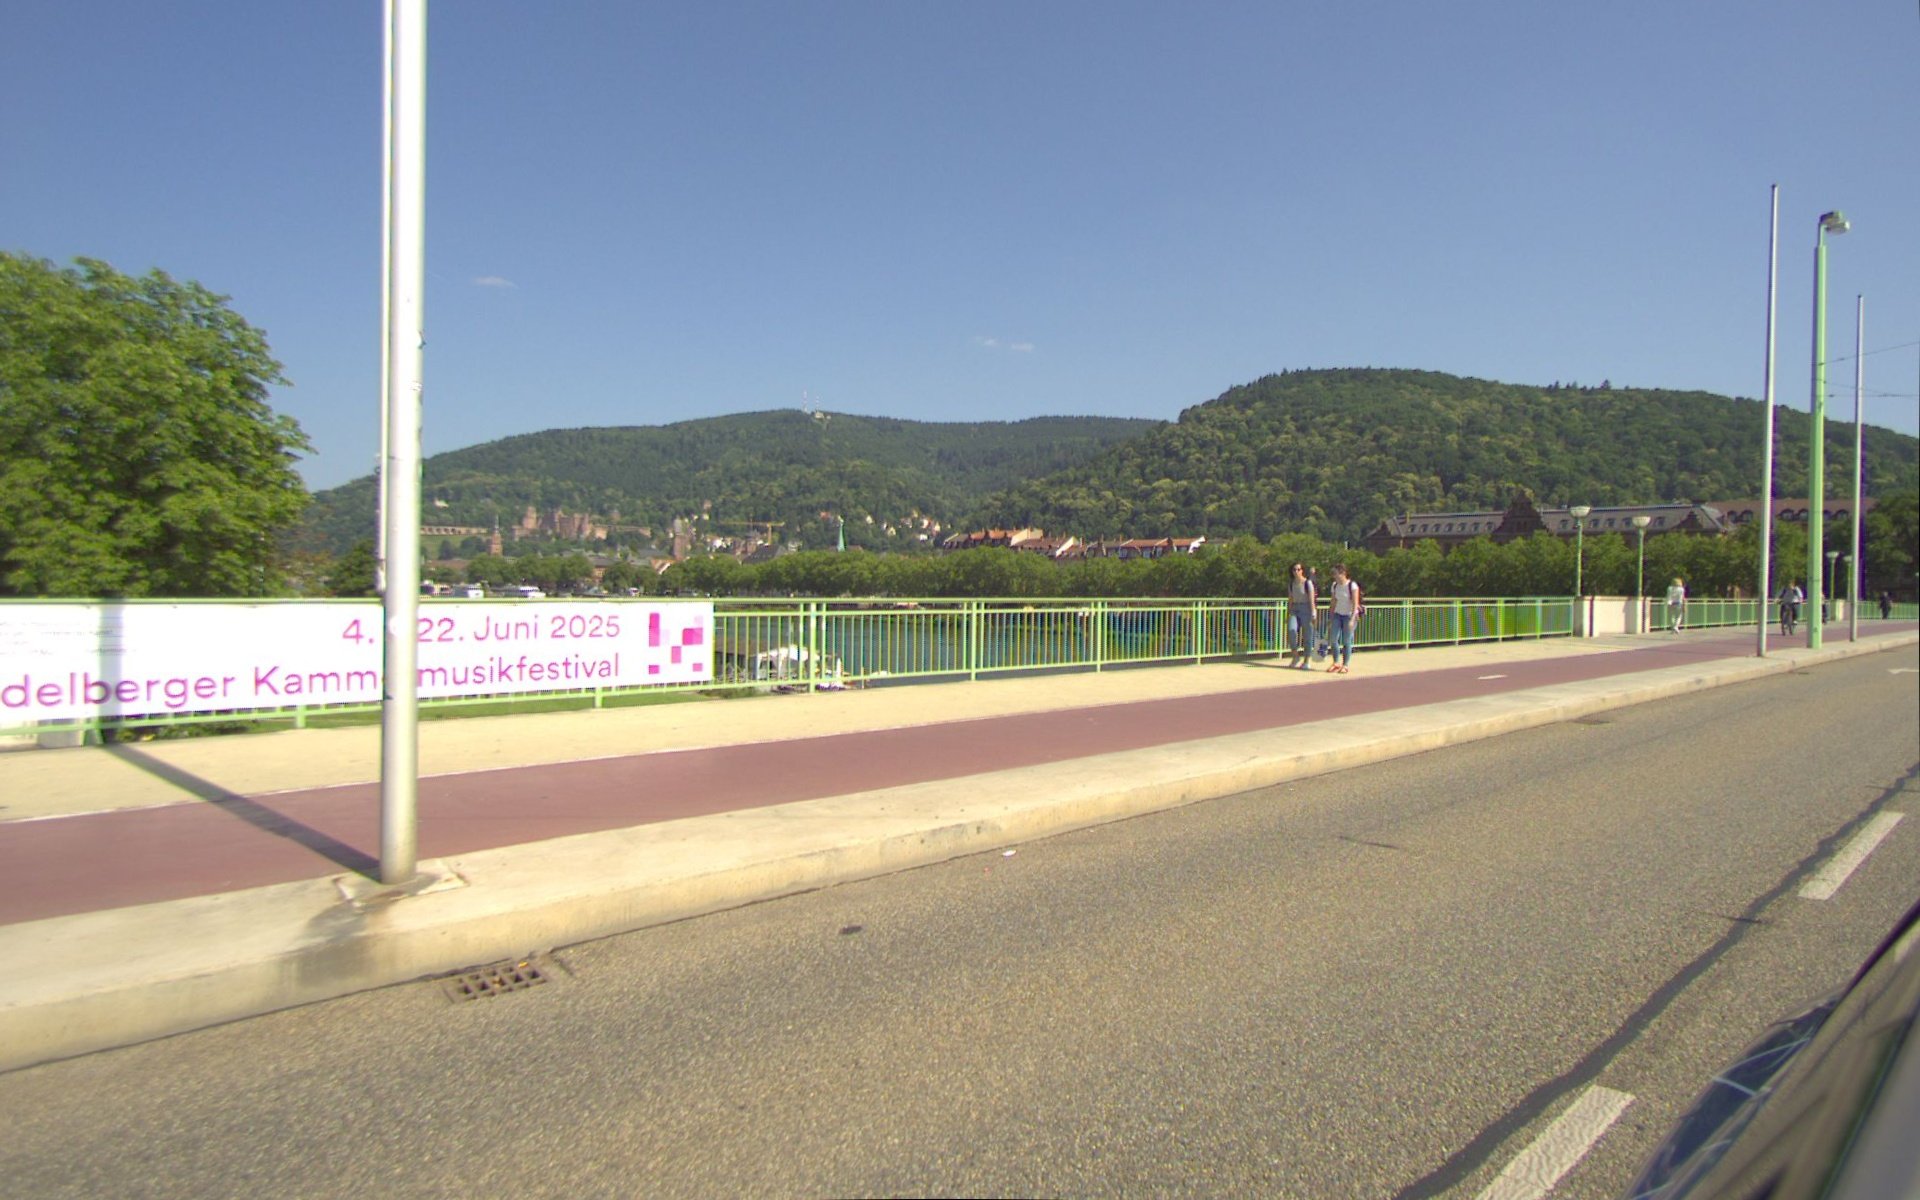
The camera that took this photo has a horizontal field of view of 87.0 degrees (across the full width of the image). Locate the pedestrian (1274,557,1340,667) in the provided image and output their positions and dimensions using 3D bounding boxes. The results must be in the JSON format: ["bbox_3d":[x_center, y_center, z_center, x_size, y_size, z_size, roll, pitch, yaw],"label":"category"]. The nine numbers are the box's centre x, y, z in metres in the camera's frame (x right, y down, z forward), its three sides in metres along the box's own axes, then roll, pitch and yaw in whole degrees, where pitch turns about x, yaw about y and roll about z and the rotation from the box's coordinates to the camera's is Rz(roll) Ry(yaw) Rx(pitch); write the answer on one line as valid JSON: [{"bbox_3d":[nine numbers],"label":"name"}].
[{"bbox_3d":[5.470,0.173,15.963,0.733,1.679,0.668,0,2,-41],"label":"pedestrian"}]

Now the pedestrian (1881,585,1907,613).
[{"bbox_3d":[56.708,-0.077,61.444,1.063,1.683,0.949,0,3,-41],"label":"pedestrian"}]

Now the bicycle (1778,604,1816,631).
[{"bbox_3d":[26.479,0.534,32.007,1.834,0.775,0.595,-1,2,-40],"label":"bicycle"}]

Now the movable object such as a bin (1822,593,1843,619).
[{"bbox_3d":[38.387,0.275,44.521,0.917,1.104,0.583,0,2,-41],"label":"movable object such as a bin"}]

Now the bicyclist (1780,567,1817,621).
[{"bbox_3d":[26.577,-0.198,32.068,0.829,1.685,0.731,0,1,-40],"label":"bicyclist"}]

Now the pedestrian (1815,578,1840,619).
[{"bbox_3d":[37.720,-0.076,44.013,0.844,1.727,0.664,0,2,-41],"label":"pedestrian"}]

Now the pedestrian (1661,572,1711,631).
[{"bbox_3d":[21.899,0.031,30.520,1.063,1.683,0.949,0,2,-41],"label":"pedestrian"}]

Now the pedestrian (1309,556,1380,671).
[{"bbox_3d":[5.834,0.181,15.341,0.810,1.679,0.664,0,2,-41],"label":"pedestrian"}]
